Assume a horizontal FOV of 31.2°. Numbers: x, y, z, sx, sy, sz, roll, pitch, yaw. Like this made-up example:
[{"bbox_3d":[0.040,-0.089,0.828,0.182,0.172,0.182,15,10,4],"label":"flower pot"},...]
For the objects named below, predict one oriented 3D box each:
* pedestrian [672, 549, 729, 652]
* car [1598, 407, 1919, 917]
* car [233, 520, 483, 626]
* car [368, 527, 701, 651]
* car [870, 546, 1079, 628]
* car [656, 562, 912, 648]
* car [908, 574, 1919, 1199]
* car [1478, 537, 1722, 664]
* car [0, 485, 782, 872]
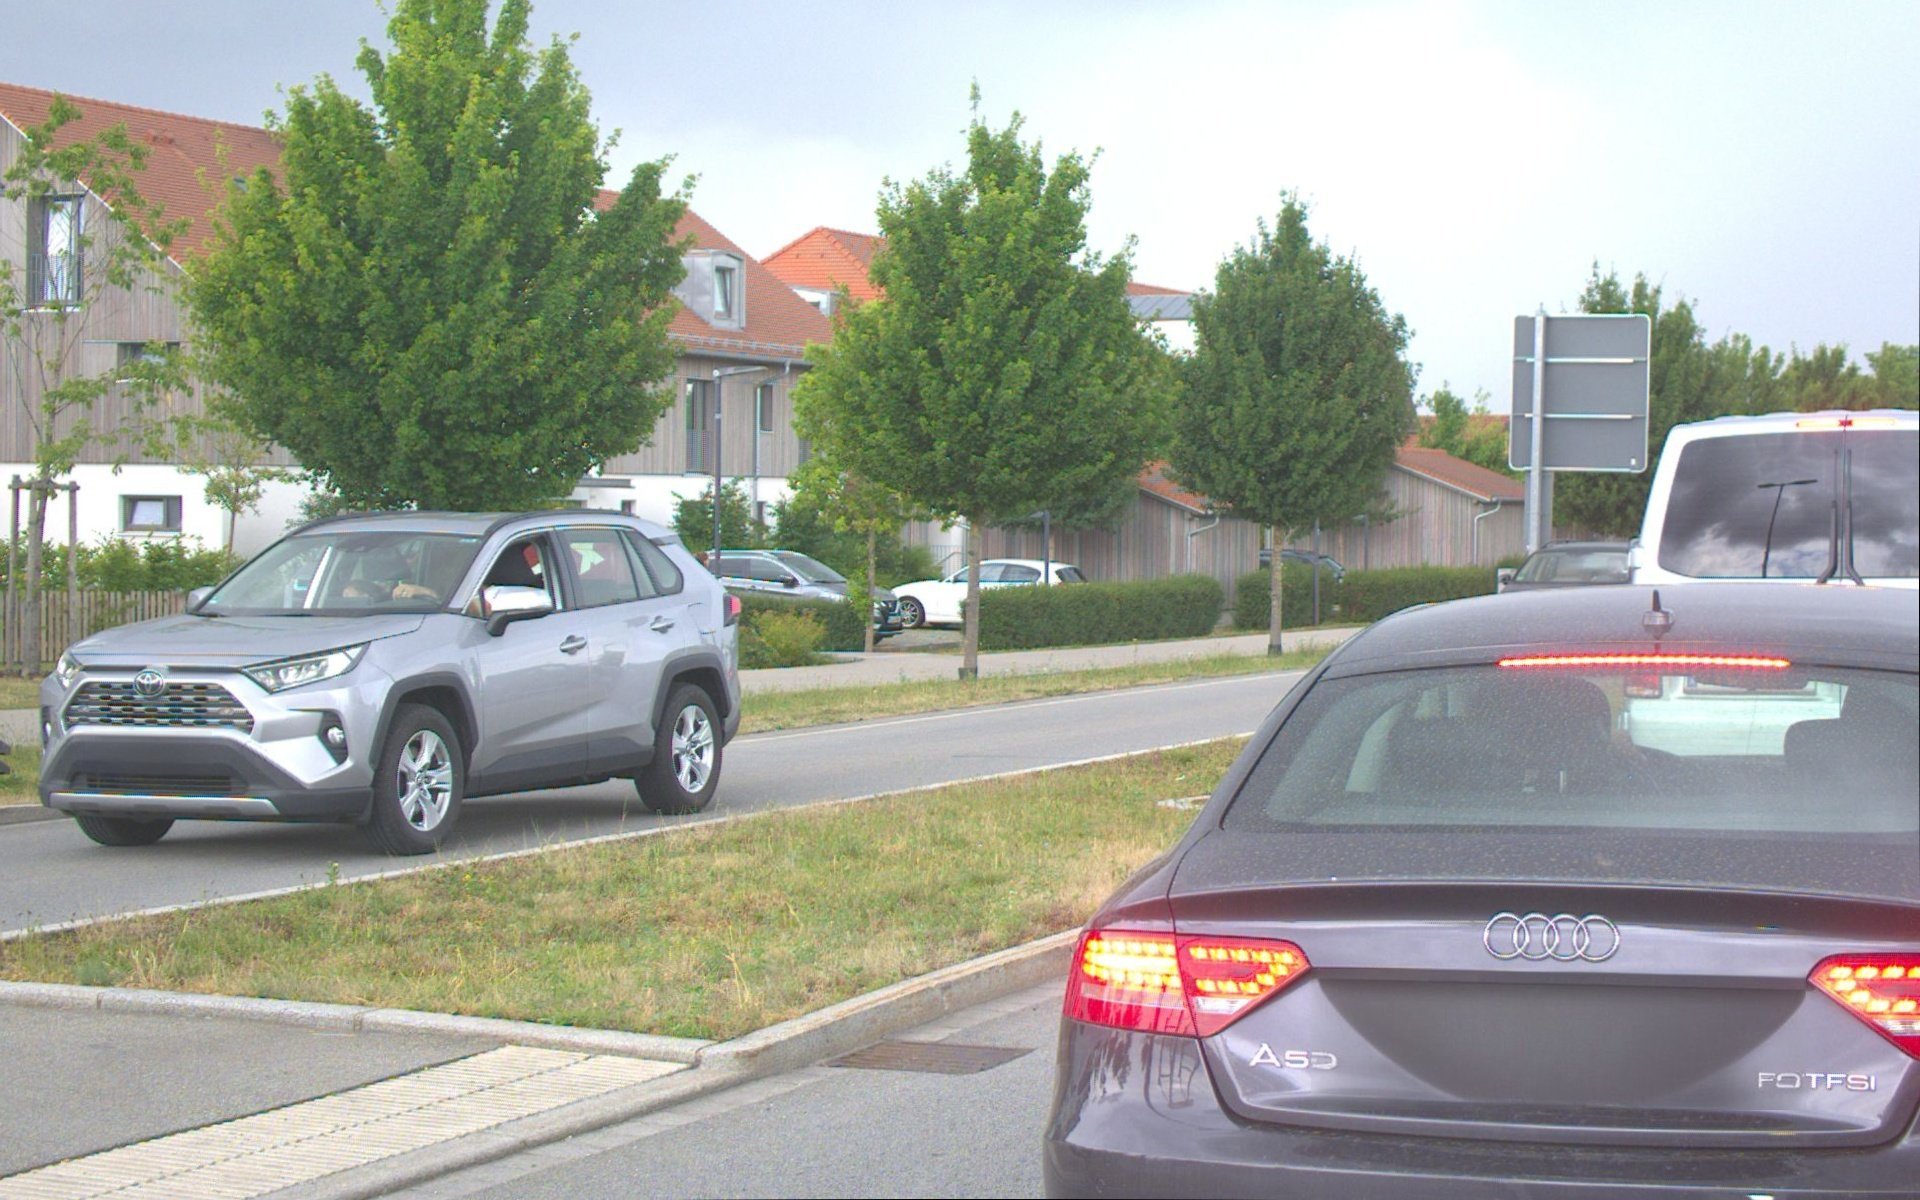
[{"bbox_3d":[-3.993,-0.004,52.860,0.658,1.553,0.582,2,2,24],"label":"pedestrian"},{"bbox_3d":[4.071,0.192,15.017,1.869,1.927,3.996,2,2,20],"label":"car"},{"bbox_3d":[-10.547,-0.483,60.565,1.997,1.766,4.458,2,1,28],"label":"car"},{"bbox_3d":[-6.317,-0.194,51.033,4.537,1.674,1.997,2,2,26],"label":"car"},{"bbox_3d":[0.293,-0.267,67.613,3.733,1.477,1.685,2,2,20],"label":"car"},{"bbox_3d":[-2.988,0.060,58.533,3.919,1.310,1.841,2,2,21],"label":"car"},{"bbox_3d":[1.477,0.684,6.532,1.786,1.387,4.128,1,1,20],"label":"car"},{"bbox_3d":[7.853,-0.037,41.886,1.756,1.411,4.449,2,2,26],"label":"car"},{"bbox_3d":[-2.842,0.293,17.600,1.996,1.698,4.629,1,1,24],"label":"car"}]
